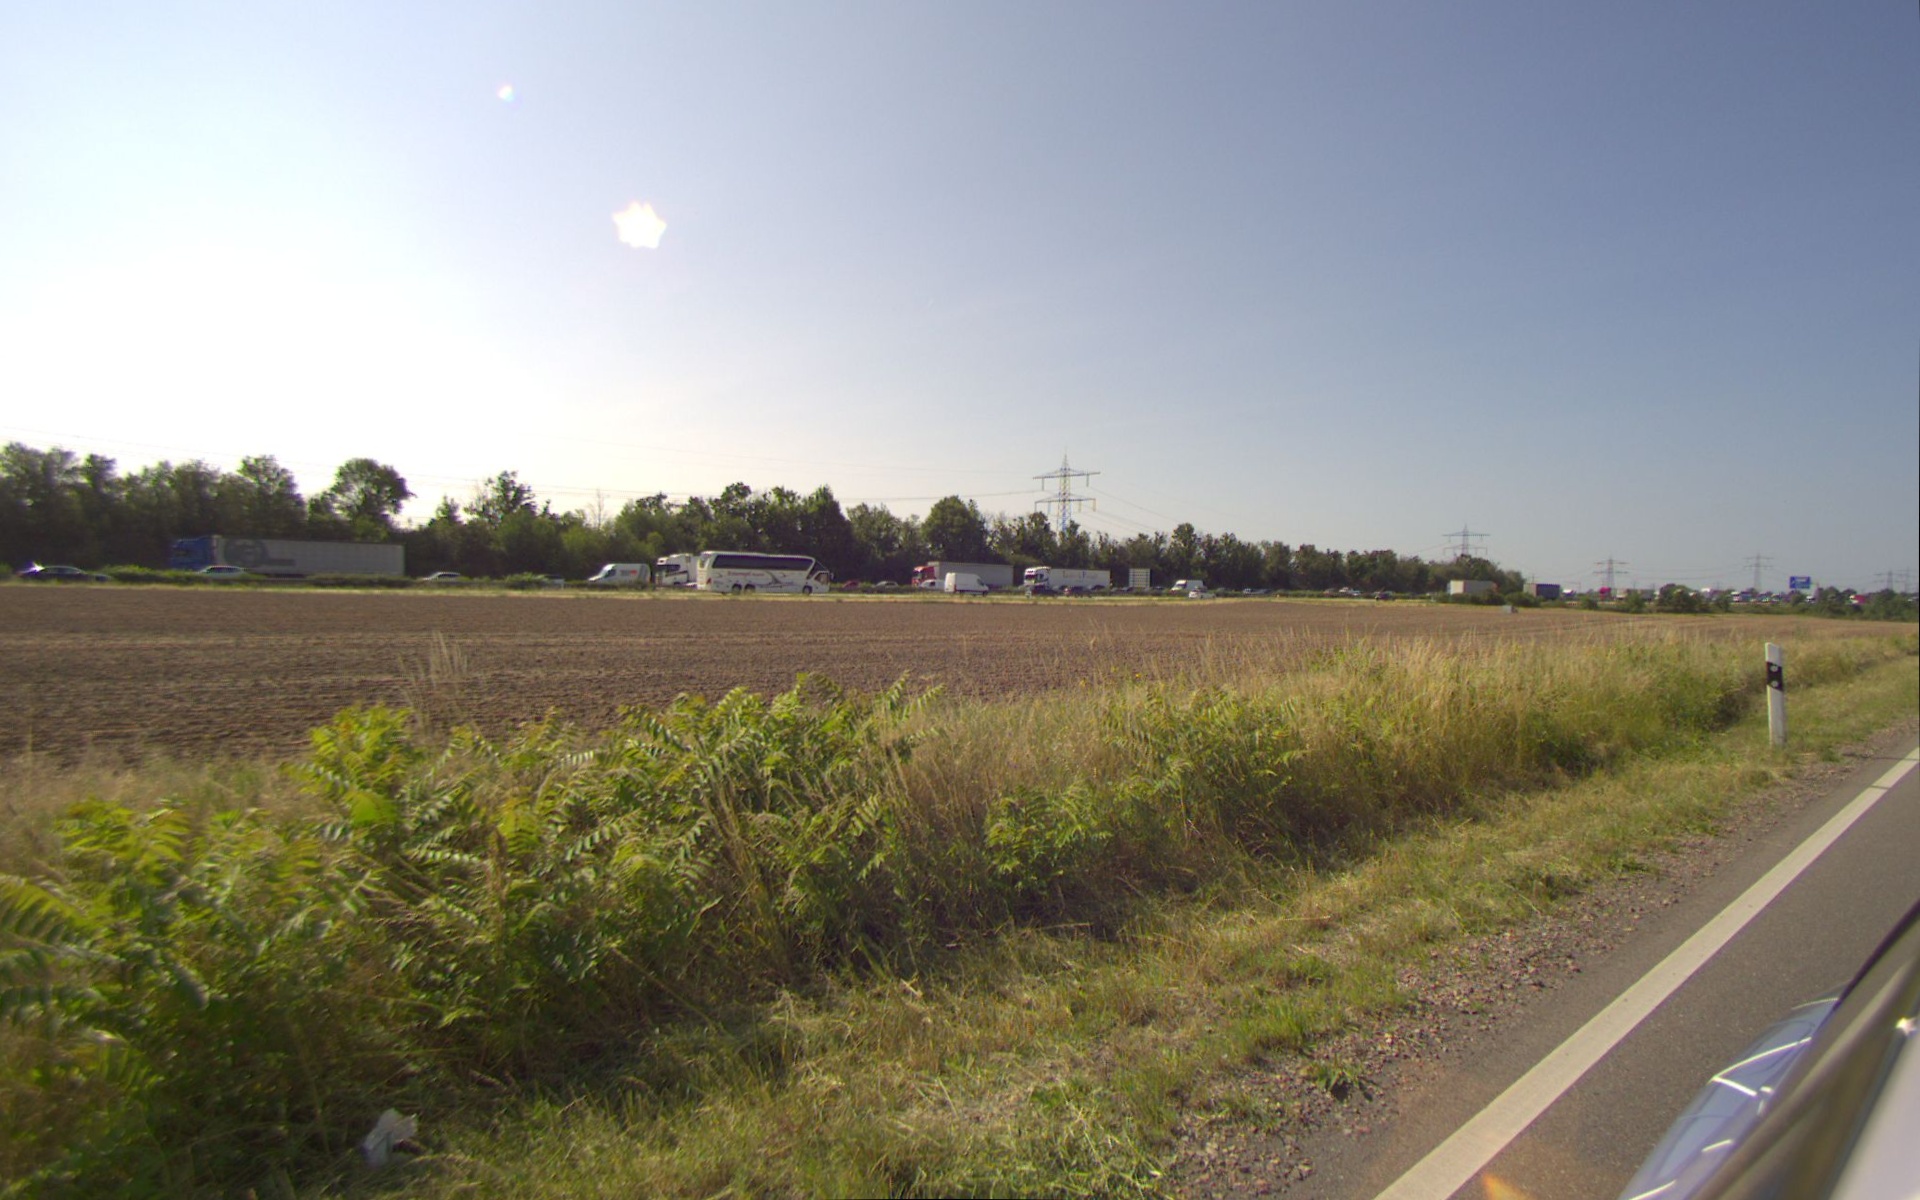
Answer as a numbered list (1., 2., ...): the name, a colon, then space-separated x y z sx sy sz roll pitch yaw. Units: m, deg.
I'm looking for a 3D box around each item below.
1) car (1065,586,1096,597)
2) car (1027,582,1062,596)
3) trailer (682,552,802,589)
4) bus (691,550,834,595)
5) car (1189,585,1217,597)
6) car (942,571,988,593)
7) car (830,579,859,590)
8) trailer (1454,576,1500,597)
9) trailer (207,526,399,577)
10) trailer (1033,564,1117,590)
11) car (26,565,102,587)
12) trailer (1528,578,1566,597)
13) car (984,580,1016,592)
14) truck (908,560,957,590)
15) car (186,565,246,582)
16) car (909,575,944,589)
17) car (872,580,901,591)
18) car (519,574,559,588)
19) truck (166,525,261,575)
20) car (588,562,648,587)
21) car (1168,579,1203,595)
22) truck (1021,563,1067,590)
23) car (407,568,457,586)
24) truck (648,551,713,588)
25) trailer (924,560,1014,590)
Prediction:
1. car: 15.339 -1.047 128.733 4.022 1.391 1.706 0 0 -40
2. car: 9.859 -1.264 118.125 4.135 1.492 1.706 0 0 -40
3. trailer: -24.180 -3.169 112.967 13.129 3.780 3.078 0 1 -40
4. bus: -18.765 -2.539 97.659 14.300 3.851 2.466 1 0 -43
5. car: 33.428 -1.275 139.326 4.124 1.562 1.705 -1 0 -41
6. car: 0.625 -2.036 116.676 5.425 2.402 1.996 0 -1 -41
7. car: -14.011 -1.858 122.870 3.235 1.234 1.342 0 -1 -42
8. trailer: 100.726 -2.502 197.094 13.476 3.897 3.109 0 0 -41
9. trailer: -55.366 -3.971 85.749 13.386 3.780 3.078 0 1 -40
10. trailer: 17.105 -3.339 149.470 14.822 3.575 3.208 0 2 -42
11. car: -56.644 -1.479 64.070 3.556 1.250 1.548 1 -2 -41
12. trailer: 127.283 -2.675 219.254 14.342 3.851 3.075 2 -1 -43
13. car: 5.178 -1.800 130.787 4.022 1.528 1.705 0 -1 -41
14. truck: -3.586 -3.265 131.580 5.767 3.780 2.950 0 0 -41
15. car: -55.855 -1.980 75.969 3.518 1.166 1.397 1 -1 -41
16. car: -4.051 -2.195 122.840 4.023 1.659 1.705 0 -1 -42
17. car: -8.629 -1.688 118.654 3.236 1.300 1.341 0 -1 -43
18. car: -38.232 -1.747 91.923 3.126 1.166 1.397 1 -1 -41
19. truck: -60.199 -3.983 81.691 5.978 3.780 3.078 0 0 -40
20. car: -32.877 -2.418 97.285 5.146 2.228 1.908 1 -1 -42
21. car: 35.441 -2.073 158.949 6.300 2.478 2.041 0 0 -40
22. truck: 12.050 -3.365 144.978 6.003 3.575 3.208 0 2 -42
23. car: -45.068 -1.968 86.357 3.540 1.403 1.494 1 -1 -41
24. truck: -29.837 -3.187 108.140 6.009 3.780 3.078 0 0 -40
25. trailer: 1.373 -3.258 135.959 13.542 3.780 2.950 0 1 -41
